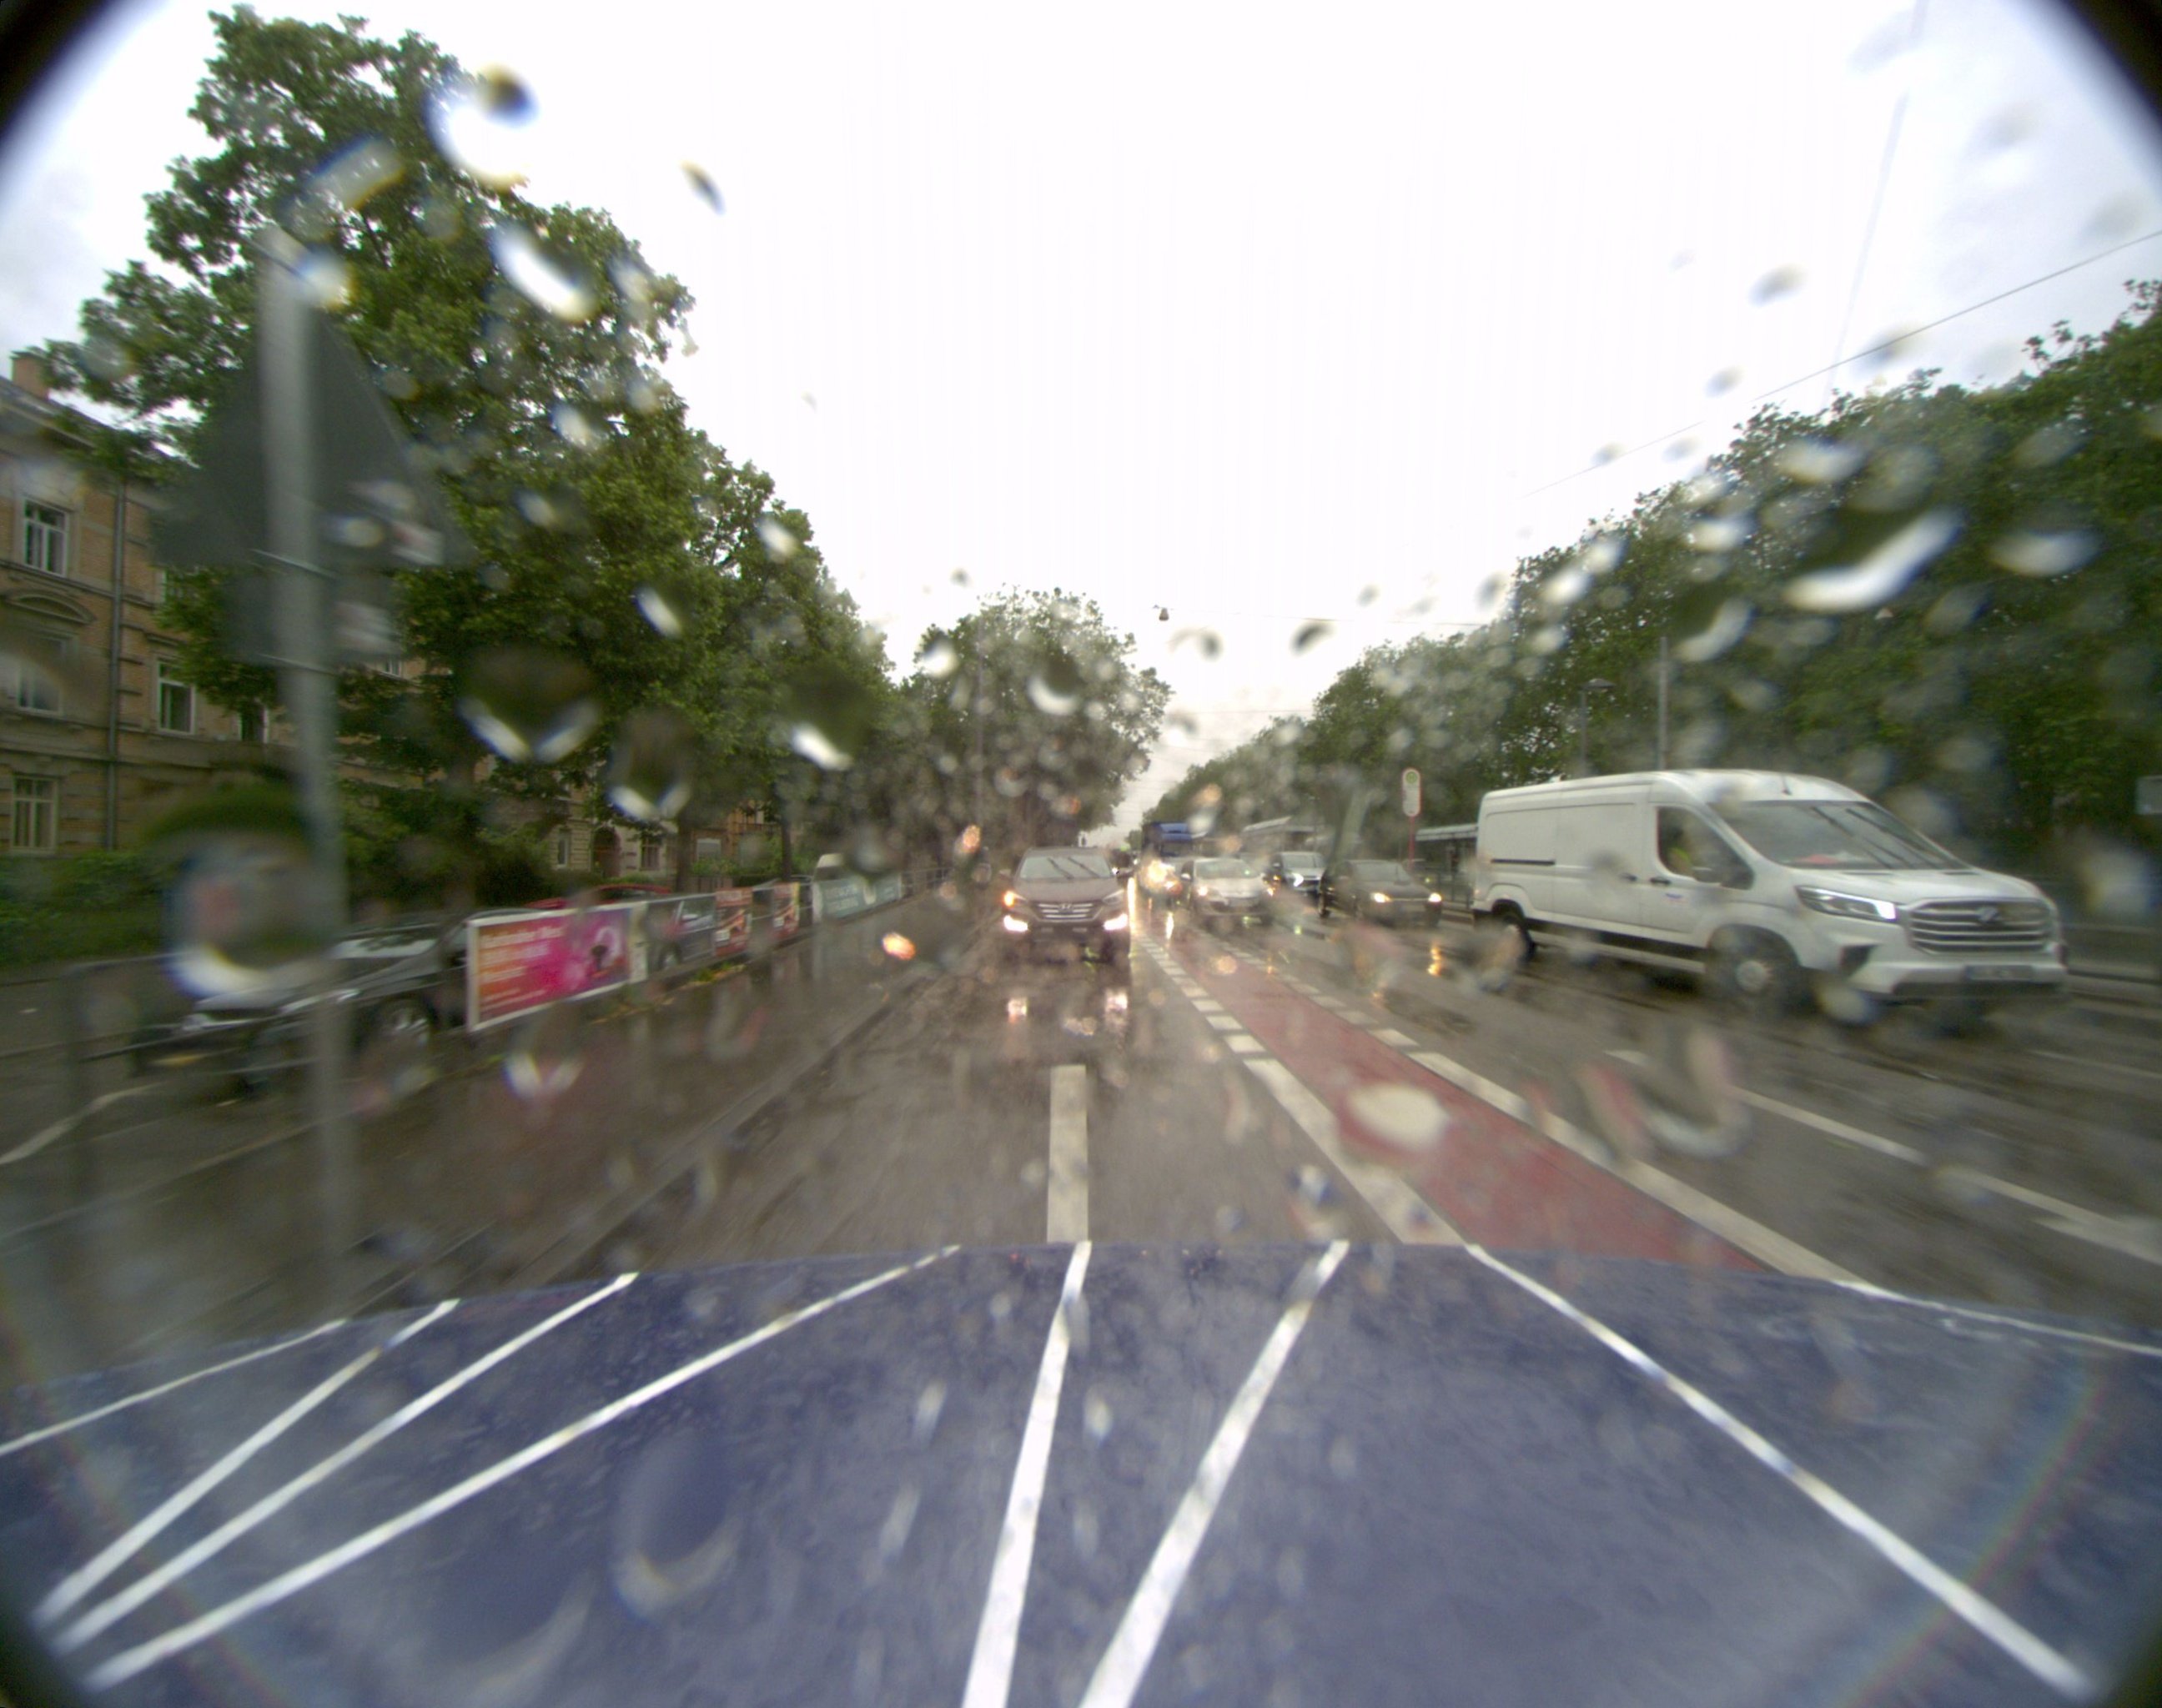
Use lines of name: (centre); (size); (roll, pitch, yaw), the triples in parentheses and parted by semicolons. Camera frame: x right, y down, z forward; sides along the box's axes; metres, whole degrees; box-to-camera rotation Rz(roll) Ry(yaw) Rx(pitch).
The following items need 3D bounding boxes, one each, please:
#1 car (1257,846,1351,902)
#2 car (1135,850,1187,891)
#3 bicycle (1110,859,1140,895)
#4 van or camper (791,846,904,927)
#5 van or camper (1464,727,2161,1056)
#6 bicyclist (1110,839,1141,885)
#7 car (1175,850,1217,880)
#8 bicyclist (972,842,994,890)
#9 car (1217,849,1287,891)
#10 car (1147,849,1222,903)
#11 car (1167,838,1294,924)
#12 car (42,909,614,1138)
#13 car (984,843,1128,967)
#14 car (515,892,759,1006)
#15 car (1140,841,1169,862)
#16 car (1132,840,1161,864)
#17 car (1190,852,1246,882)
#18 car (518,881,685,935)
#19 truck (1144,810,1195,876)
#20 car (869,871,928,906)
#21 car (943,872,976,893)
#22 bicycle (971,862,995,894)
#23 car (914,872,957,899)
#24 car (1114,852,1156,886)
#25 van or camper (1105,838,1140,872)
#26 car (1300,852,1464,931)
car: (7.054, 0.623, 24.478); (1.847, 1.625, 4.248); (-1, -1, 1)
car: (3.394, 0.705, 33.040); (1.913, 1.637, 4.191); (-1, -1, 1)
bicycle: (1.448, 0.732, 25.185); (0.819, 1.082, 1.997); (-2, 1, -1)
van or camper: (-8.242, 1.095, 27.551); (2.333, 2.575, 6.097); (-1, -1, -1)
van or camper: (7.064, 0.301, 8.708); (2.181, 2.456, 5.970); (-1, 0, -2)
bicyclist: (1.462, 0.251, 25.005); (0.927, 1.461, 0.805); (-2, 1, 0)
car: (6.630, 0.616, 44.152); (1.912, 1.637, 4.192); (-1, -1, 2)
bicyclist: (-3.394, 0.419, 26.294); (0.738, 1.646, 0.877); (0, 0, -6)
car: (7.239, 0.660, 32.528); (1.913, 1.637, 4.190); (-1, -1, -2)
car: (3.264, 0.681, 24.843); (1.913, 1.540, 4.667); (-1, -1, 1)
car: (3.312, 0.587, 17.749); (1.976, 1.731, 4.267); (-1, -1, -2)
car: (-7.020, 1.436, 7.888); (1.750, 1.455, 4.216); (-1, -1, -1)
car: (-0.278, 0.715, 12.564); (1.913, 1.637, 4.681); (-1, -1, 1)
car: (-7.319, 1.480, 13.111); (1.731, 1.461, 4.216); (-1, -1, 0)
car: (6.317, -0.217, 65.750); (1.999, 1.706, 3.999); (-2, 1, -1)
car: (6.243, -0.240, 73.342); (2.344, 2.137, 5.453); (-2, 1, 1)
car: (6.779, 0.648, 38.099); (1.913, 1.399, 4.190); (-1, -1, -2)
car: (-14.958, 1.627, 23.909); (4.294, 1.461, 1.705); (0, -1, -33)
truck: (6.102, -0.644, 53.586); (2.417, 4.251, 8.353); (-1, -1, -1)
car: (-8.259, 1.531, 34.720); (1.630, 1.341, 4.215); (-1, 1, 0)
car: (-8.911, 2.077, 56.014); (1.809, 1.446, 4.000); (-1, -1, -1)
bicycle: (-3.368, 0.805, 26.236); (0.740, 1.066, 1.866); (0, -1, -5)
car: (-8.359, 1.792, 43.902); (1.704, 1.363, 4.000); (-2, 0, -1)
car: (3.033, 0.831, 43.288); (1.999, 1.737, 3.999); (-2, 1, -1)
van or camper: (3.152, 0.109, 59.097); (2.144, 2.484, 5.712); (-1, -1, -2)
car: (6.556, 0.759, 17.146); (1.786, 1.504, 4.556); (-1, -1, -1)
